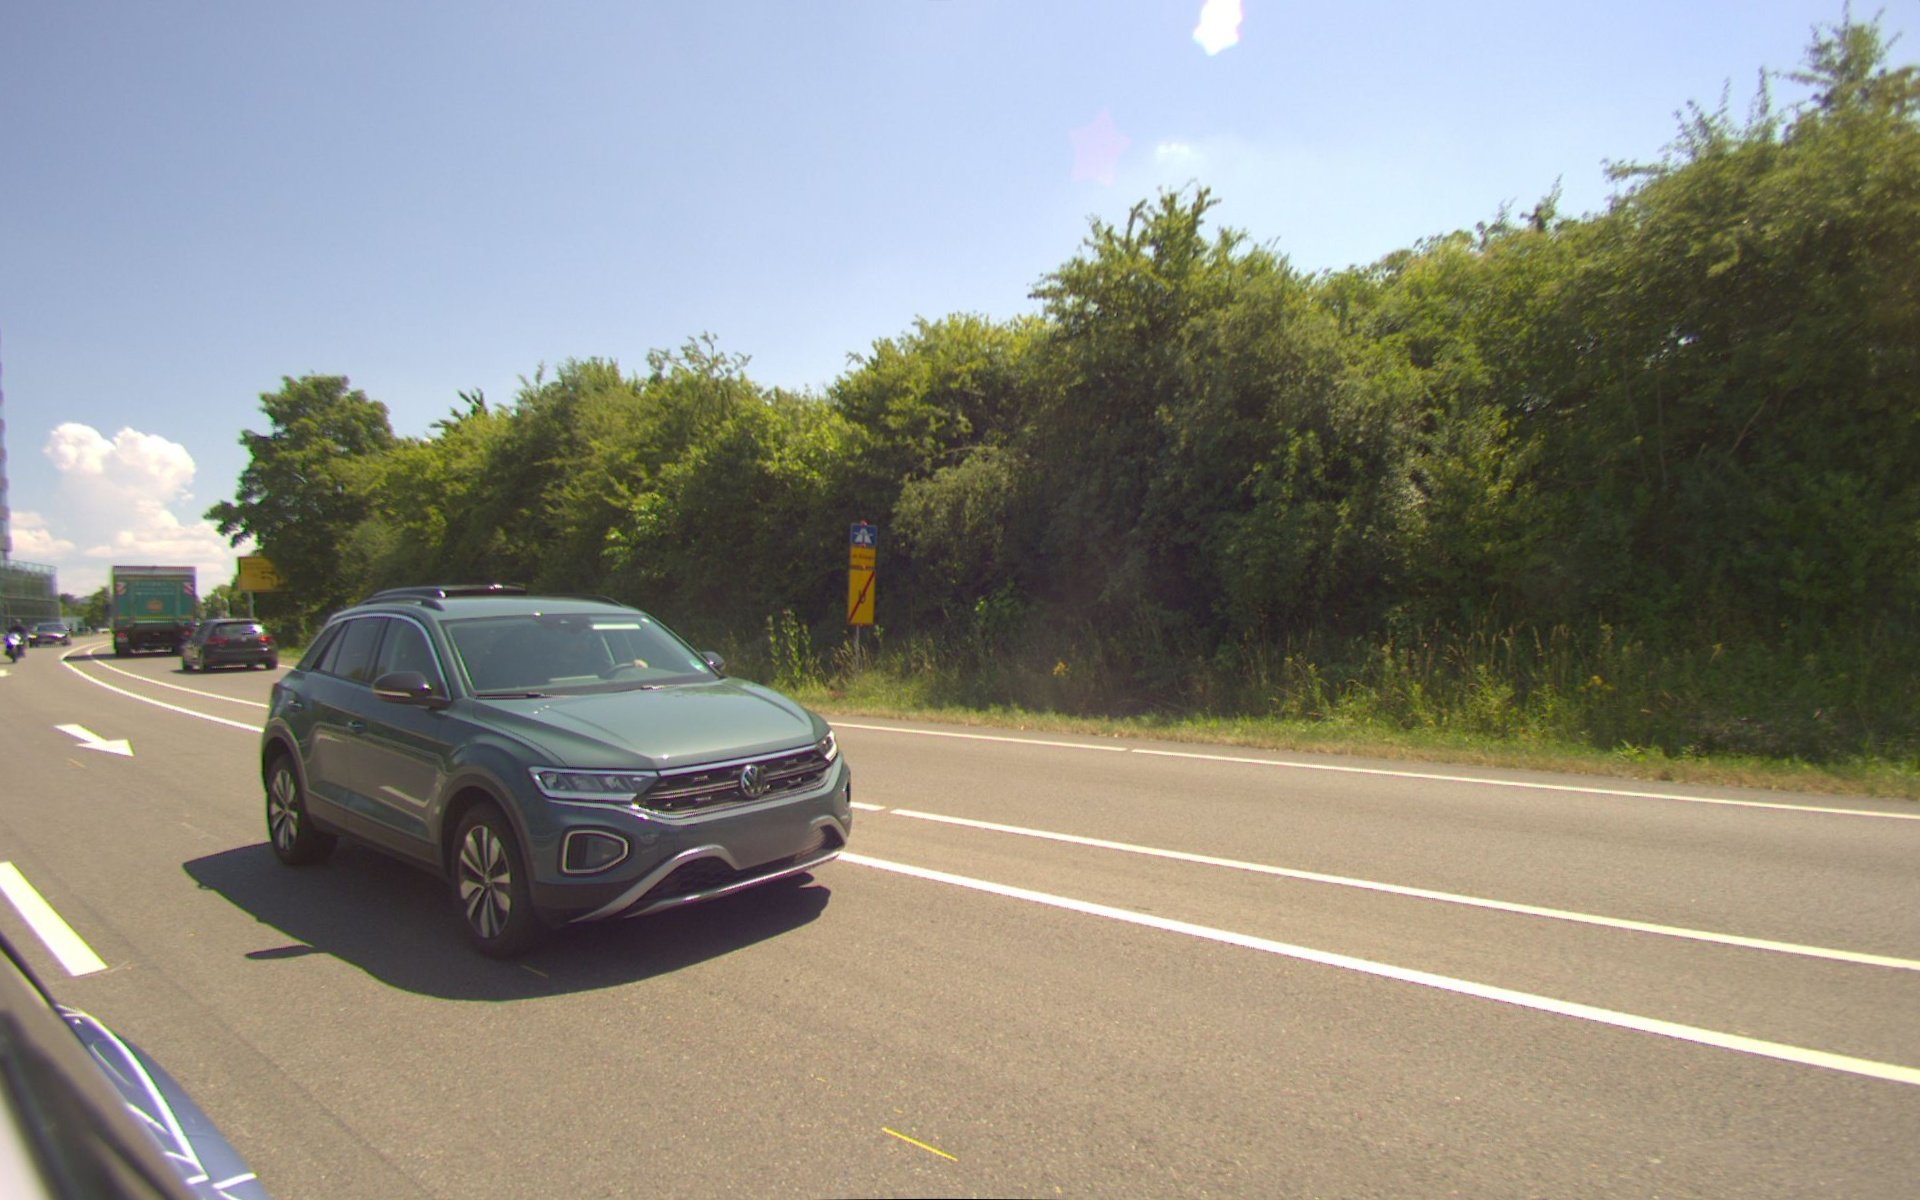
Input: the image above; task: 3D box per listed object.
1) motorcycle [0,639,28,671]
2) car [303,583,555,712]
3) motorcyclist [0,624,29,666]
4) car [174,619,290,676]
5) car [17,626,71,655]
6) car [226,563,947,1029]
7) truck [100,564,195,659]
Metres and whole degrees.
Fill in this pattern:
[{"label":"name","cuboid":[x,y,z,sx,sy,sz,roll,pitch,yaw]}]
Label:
[{"label":"motorcycle","cuboid":[-35.333,2.026,37.794,0.723,1.147,2.074,0,-2,-44]},{"label":"car","cuboid":[-9.222,0.747,17.375,5.098,1.909,1.974,-2,0,39]},{"label":"motorcyclist","cuboid":[-35.383,1.675,37.830,0.848,1.500,1.162,0,-2,-44]},{"label":"car","cuboid":[-20.623,1.294,28.606,4.330,1.453,1.856,-2,0,43]},{"label":"car","cuboid":[-56.426,2.456,62.414,2.085,1.603,4.459,-2,0,-38]},{"label":"car","cuboid":[-2.326,0.719,5.602,4.388,1.598,1.816,-2,-1,40]},{"label":"truck","cuboid":[-34.350,0.510,42.646,2.833,3.601,9.445,-1,-1,-40]}]
